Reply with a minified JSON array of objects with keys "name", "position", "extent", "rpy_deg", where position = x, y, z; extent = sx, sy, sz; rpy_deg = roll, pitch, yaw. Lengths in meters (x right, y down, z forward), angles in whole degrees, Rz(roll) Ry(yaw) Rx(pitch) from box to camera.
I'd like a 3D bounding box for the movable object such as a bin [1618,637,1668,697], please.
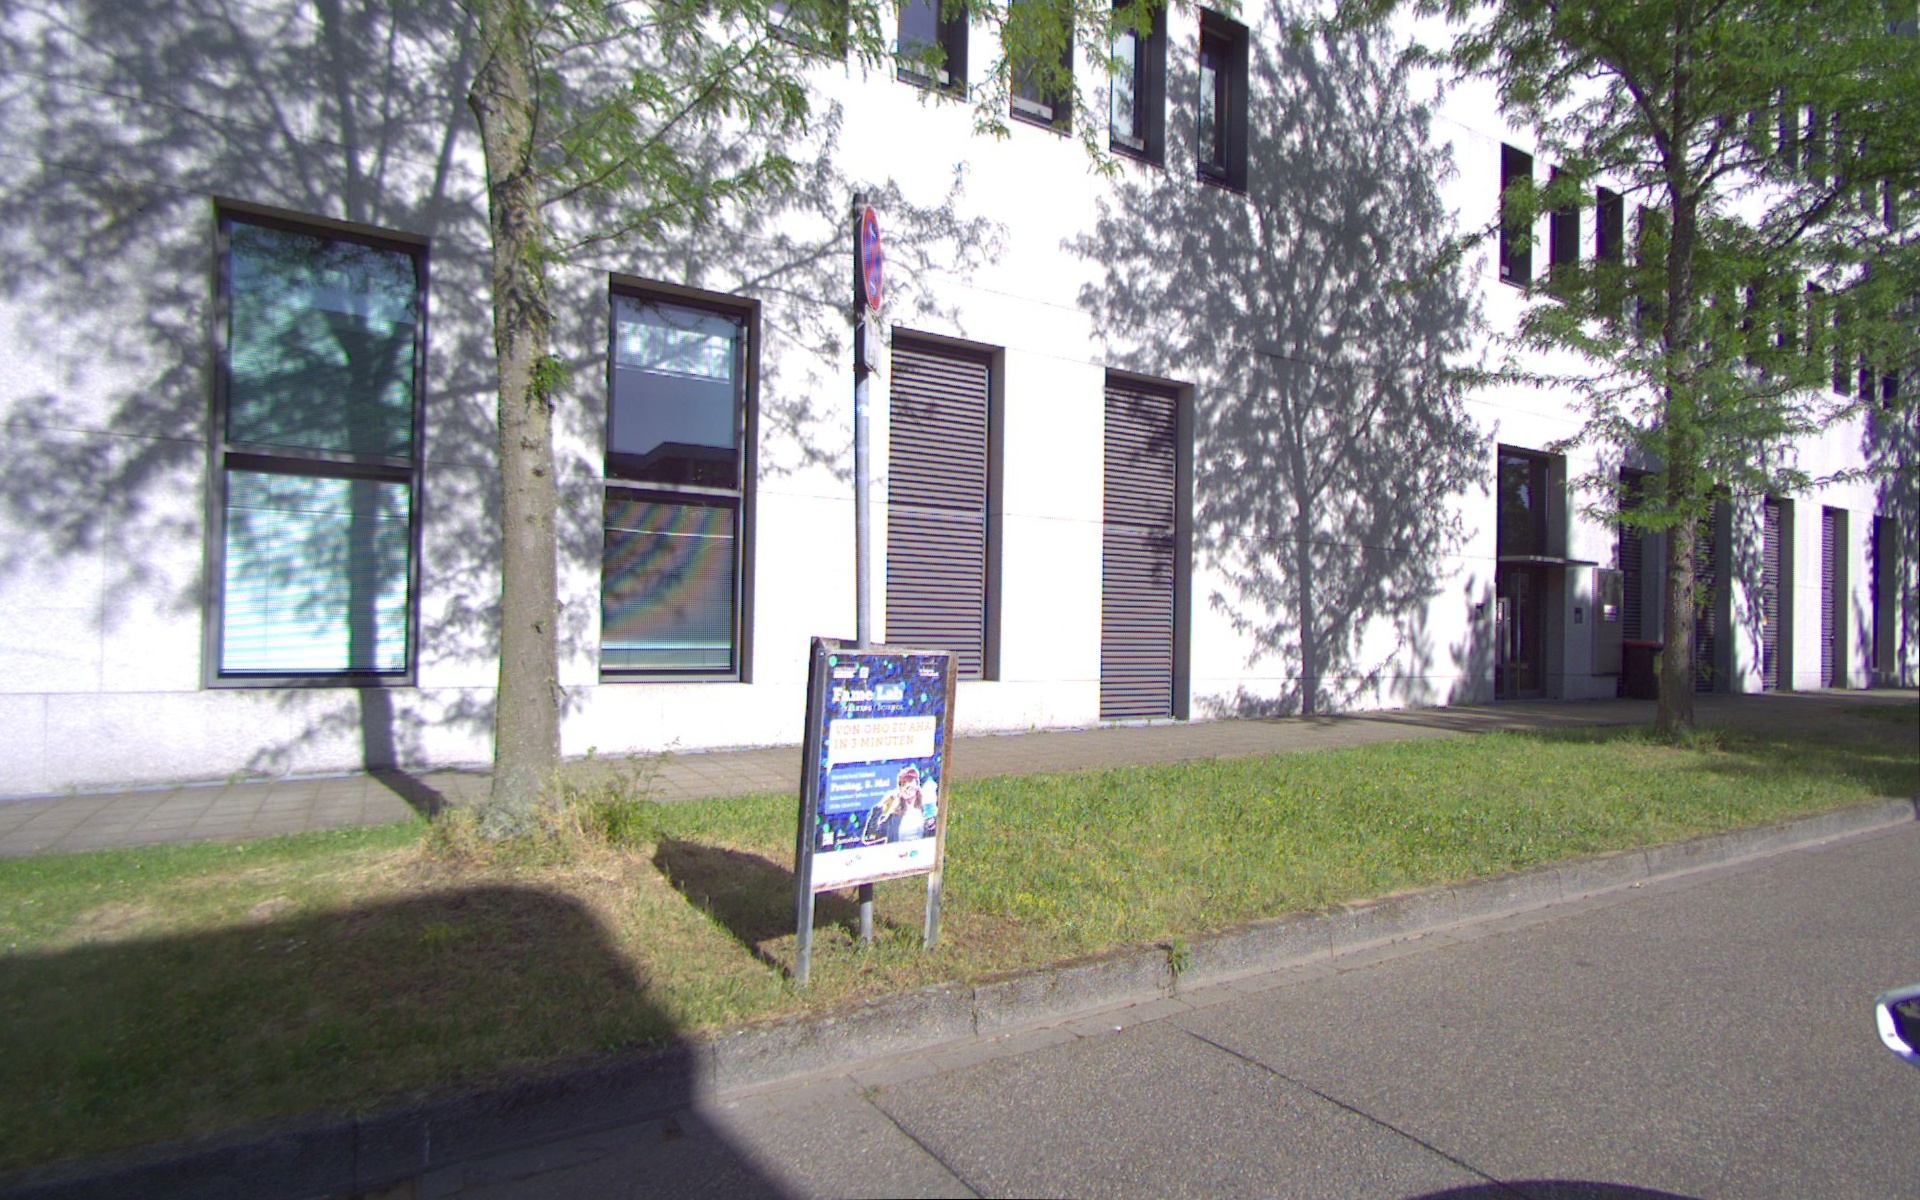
[{"name":"movable object such as a bin","position":[12.515,1.220,18.411],"extent":[0.537,1.054,0.590],"rpy_deg":[1,0,-32]}]
